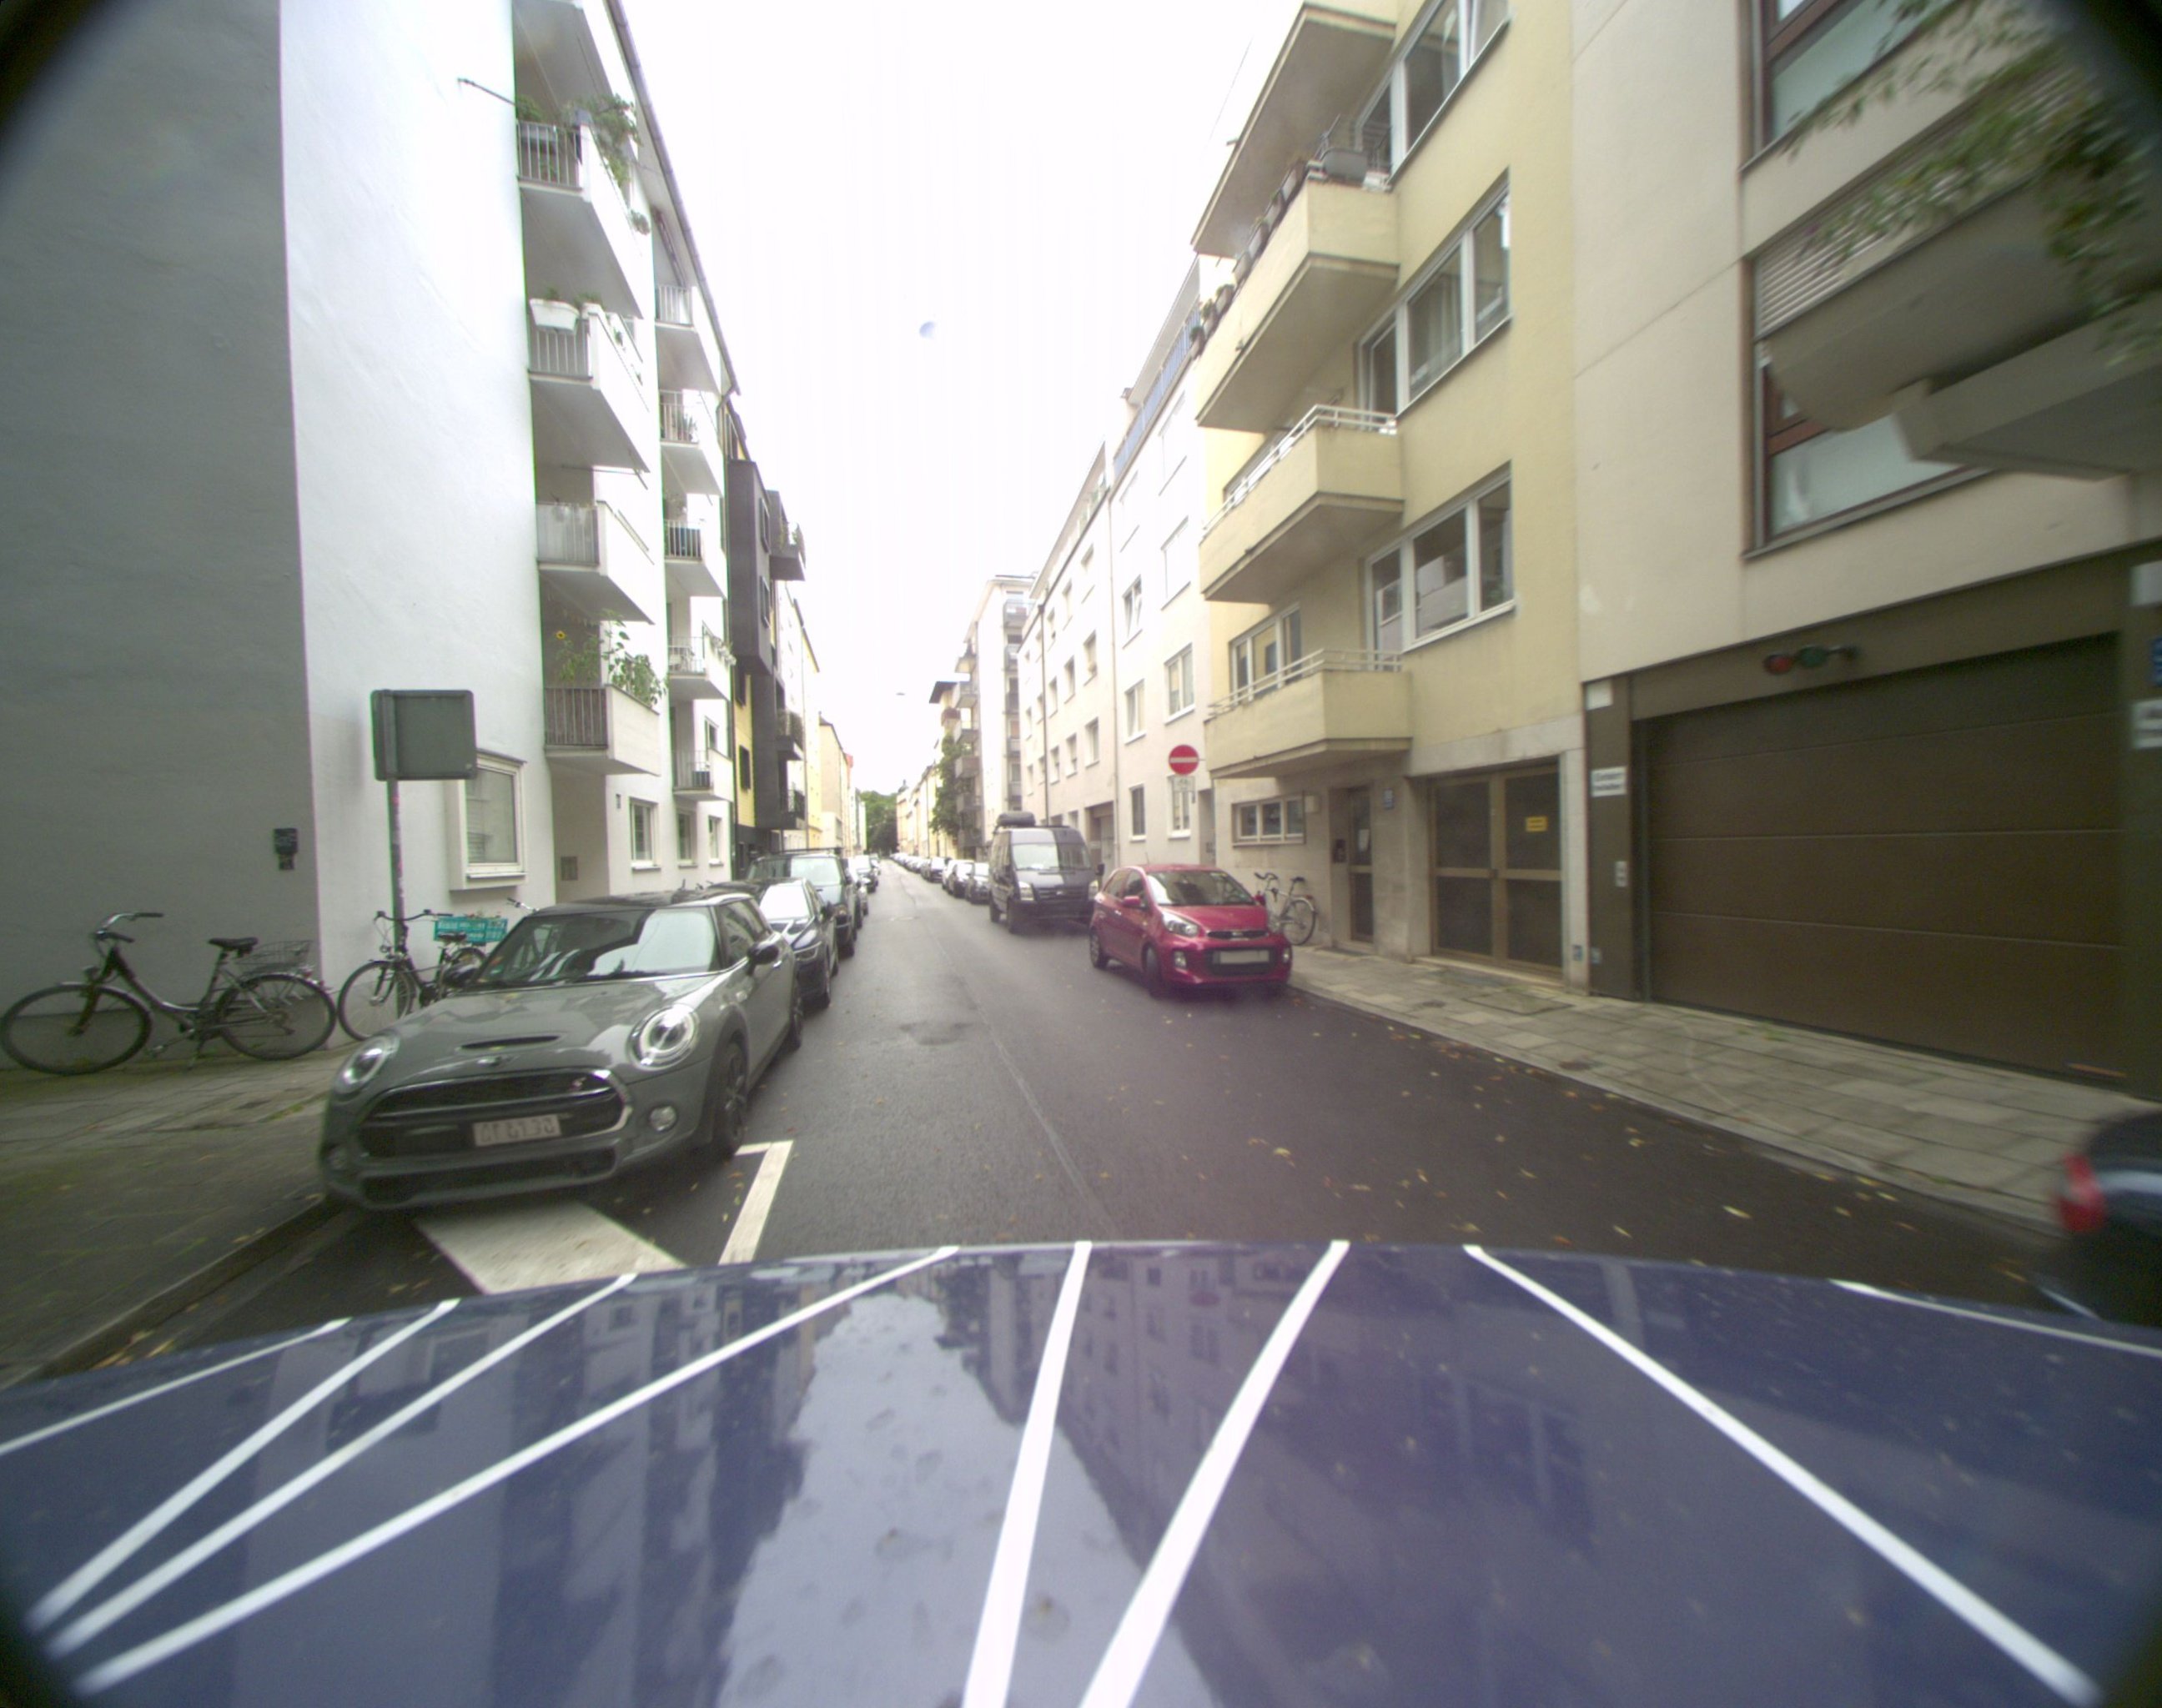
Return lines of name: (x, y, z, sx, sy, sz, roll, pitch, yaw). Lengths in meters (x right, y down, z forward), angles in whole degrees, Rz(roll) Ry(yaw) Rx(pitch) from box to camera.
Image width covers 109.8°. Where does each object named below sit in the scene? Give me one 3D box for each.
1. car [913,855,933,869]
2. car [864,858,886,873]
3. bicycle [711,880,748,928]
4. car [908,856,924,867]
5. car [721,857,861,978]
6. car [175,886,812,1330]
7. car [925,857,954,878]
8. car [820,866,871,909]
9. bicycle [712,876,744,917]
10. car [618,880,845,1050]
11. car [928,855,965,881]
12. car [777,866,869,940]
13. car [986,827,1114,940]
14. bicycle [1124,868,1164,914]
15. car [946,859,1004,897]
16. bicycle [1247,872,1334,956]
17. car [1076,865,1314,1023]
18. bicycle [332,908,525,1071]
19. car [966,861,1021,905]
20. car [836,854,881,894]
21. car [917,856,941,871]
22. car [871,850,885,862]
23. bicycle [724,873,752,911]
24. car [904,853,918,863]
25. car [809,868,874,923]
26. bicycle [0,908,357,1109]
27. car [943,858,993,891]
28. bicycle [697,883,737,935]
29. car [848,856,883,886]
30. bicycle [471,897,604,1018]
car: (-17.751, 0.886, 85.280, 1.898, 1.444, 4.290, -2, 1, -14)
car: (-20.791, 1.131, 76.777, 1.974, 1.369, 4.290, -2, 1, -14)
bicycle: (-9.341, 1.309, 20.248, 0.573, 1.144, 1.561, -2, 1, -15)
car: (-22.249, 0.972, 102.346, 1.898, 1.444, 4.290, -2, 1, -14)
car: (-5.231, 1.001, 14.333, 1.881, 1.781, 4.775, -2, 1, -14)
car: (-2.947, 1.045, 4.984, 1.749, 1.432, 3.995, -2, 1, -13)
car: (-10.465, 0.968, 55.999, 1.820, 1.433, 4.290, -2, 1, -14)
car: (-9.151, 1.256, 29.725, 1.741, 1.421, 4.196, -2, 1, -16)
bicycle: (-9.666, 1.145, 20.829, 0.479, 0.997, 1.550, -3, 1, -15)
car: (-3.993, 1.130, 9.391, 1.840, 1.411, 4.053, -2, 1, -15)
car: (-8.930, 0.885, 50.208, 1.974, 1.598, 4.534, -2, 1, -14)
car: (-6.693, 1.178, 20.128, 1.913, 1.545, 4.619, -2, 1, -14)
car: (-0.936, 0.575, 18.045, 2.026, 2.265, 5.383, 0, 0, -14)
bicycle: (1.620, 0.936, 19.808, 0.465, 1.091, 1.868, -3, 1, -13)
car: (-4.607, 0.991, 32.562, 1.808, 1.409, 4.220, -2, 1, -16)
bicycle: (3.205, 0.877, 11.769, 0.469, 1.142, 1.758, -3, 1, -13)
car: (1.211, 0.938, 9.669, 1.625, 1.488, 3.704, -2, 1, -15)
bicycle: (-6.210, 1.211, 7.385, 0.561, 1.212, 1.915, -3, 1, -14)
car: (-3.310, 1.033, 28.174, 1.617, 1.438, 3.738, 1, 0, -12)
car: (-11.713, 0.999, 40.241, 1.990, 1.828, 5.177, -4, 1, -14)
car: (-14.984, 0.931, 74.686, 1.974, 1.369, 4.290, -2, 1, -14)
car: (-30.242, 0.251, 113.193, 1.898, 1.621, 4.290, -2, 1, -14)
bicycle: (-10.078, 1.099, 22.356, 0.479, 1.042, 1.520, -2, 1, -15)
car: (-26.366, 0.559, 117.788, 1.898, 1.444, 4.290, -2, 1, -14)
car: (-7.833, 1.292, 25.079, 1.766, 1.423, 4.255, -5, 2, -16)
bicycle: (-6.803, 1.095, 5.697, 1.855, 1.223, 0.577, -3, 1, -22)
car: (-5.657, 0.965, 37.545, 1.919, 1.429, 4.802, -2, 1, -14)
bicycle: (-8.900, 1.319, 18.619, 0.573, 1.144, 1.429, -2, 1, -15)
car: (-13.554, 1.023, 47.978, 1.969, 1.665, 4.535, -2, 1, -14)
bicycle: (-6.766, 1.216, 9.600, 0.625, 1.212, 2.245, -3, 0, -17)
